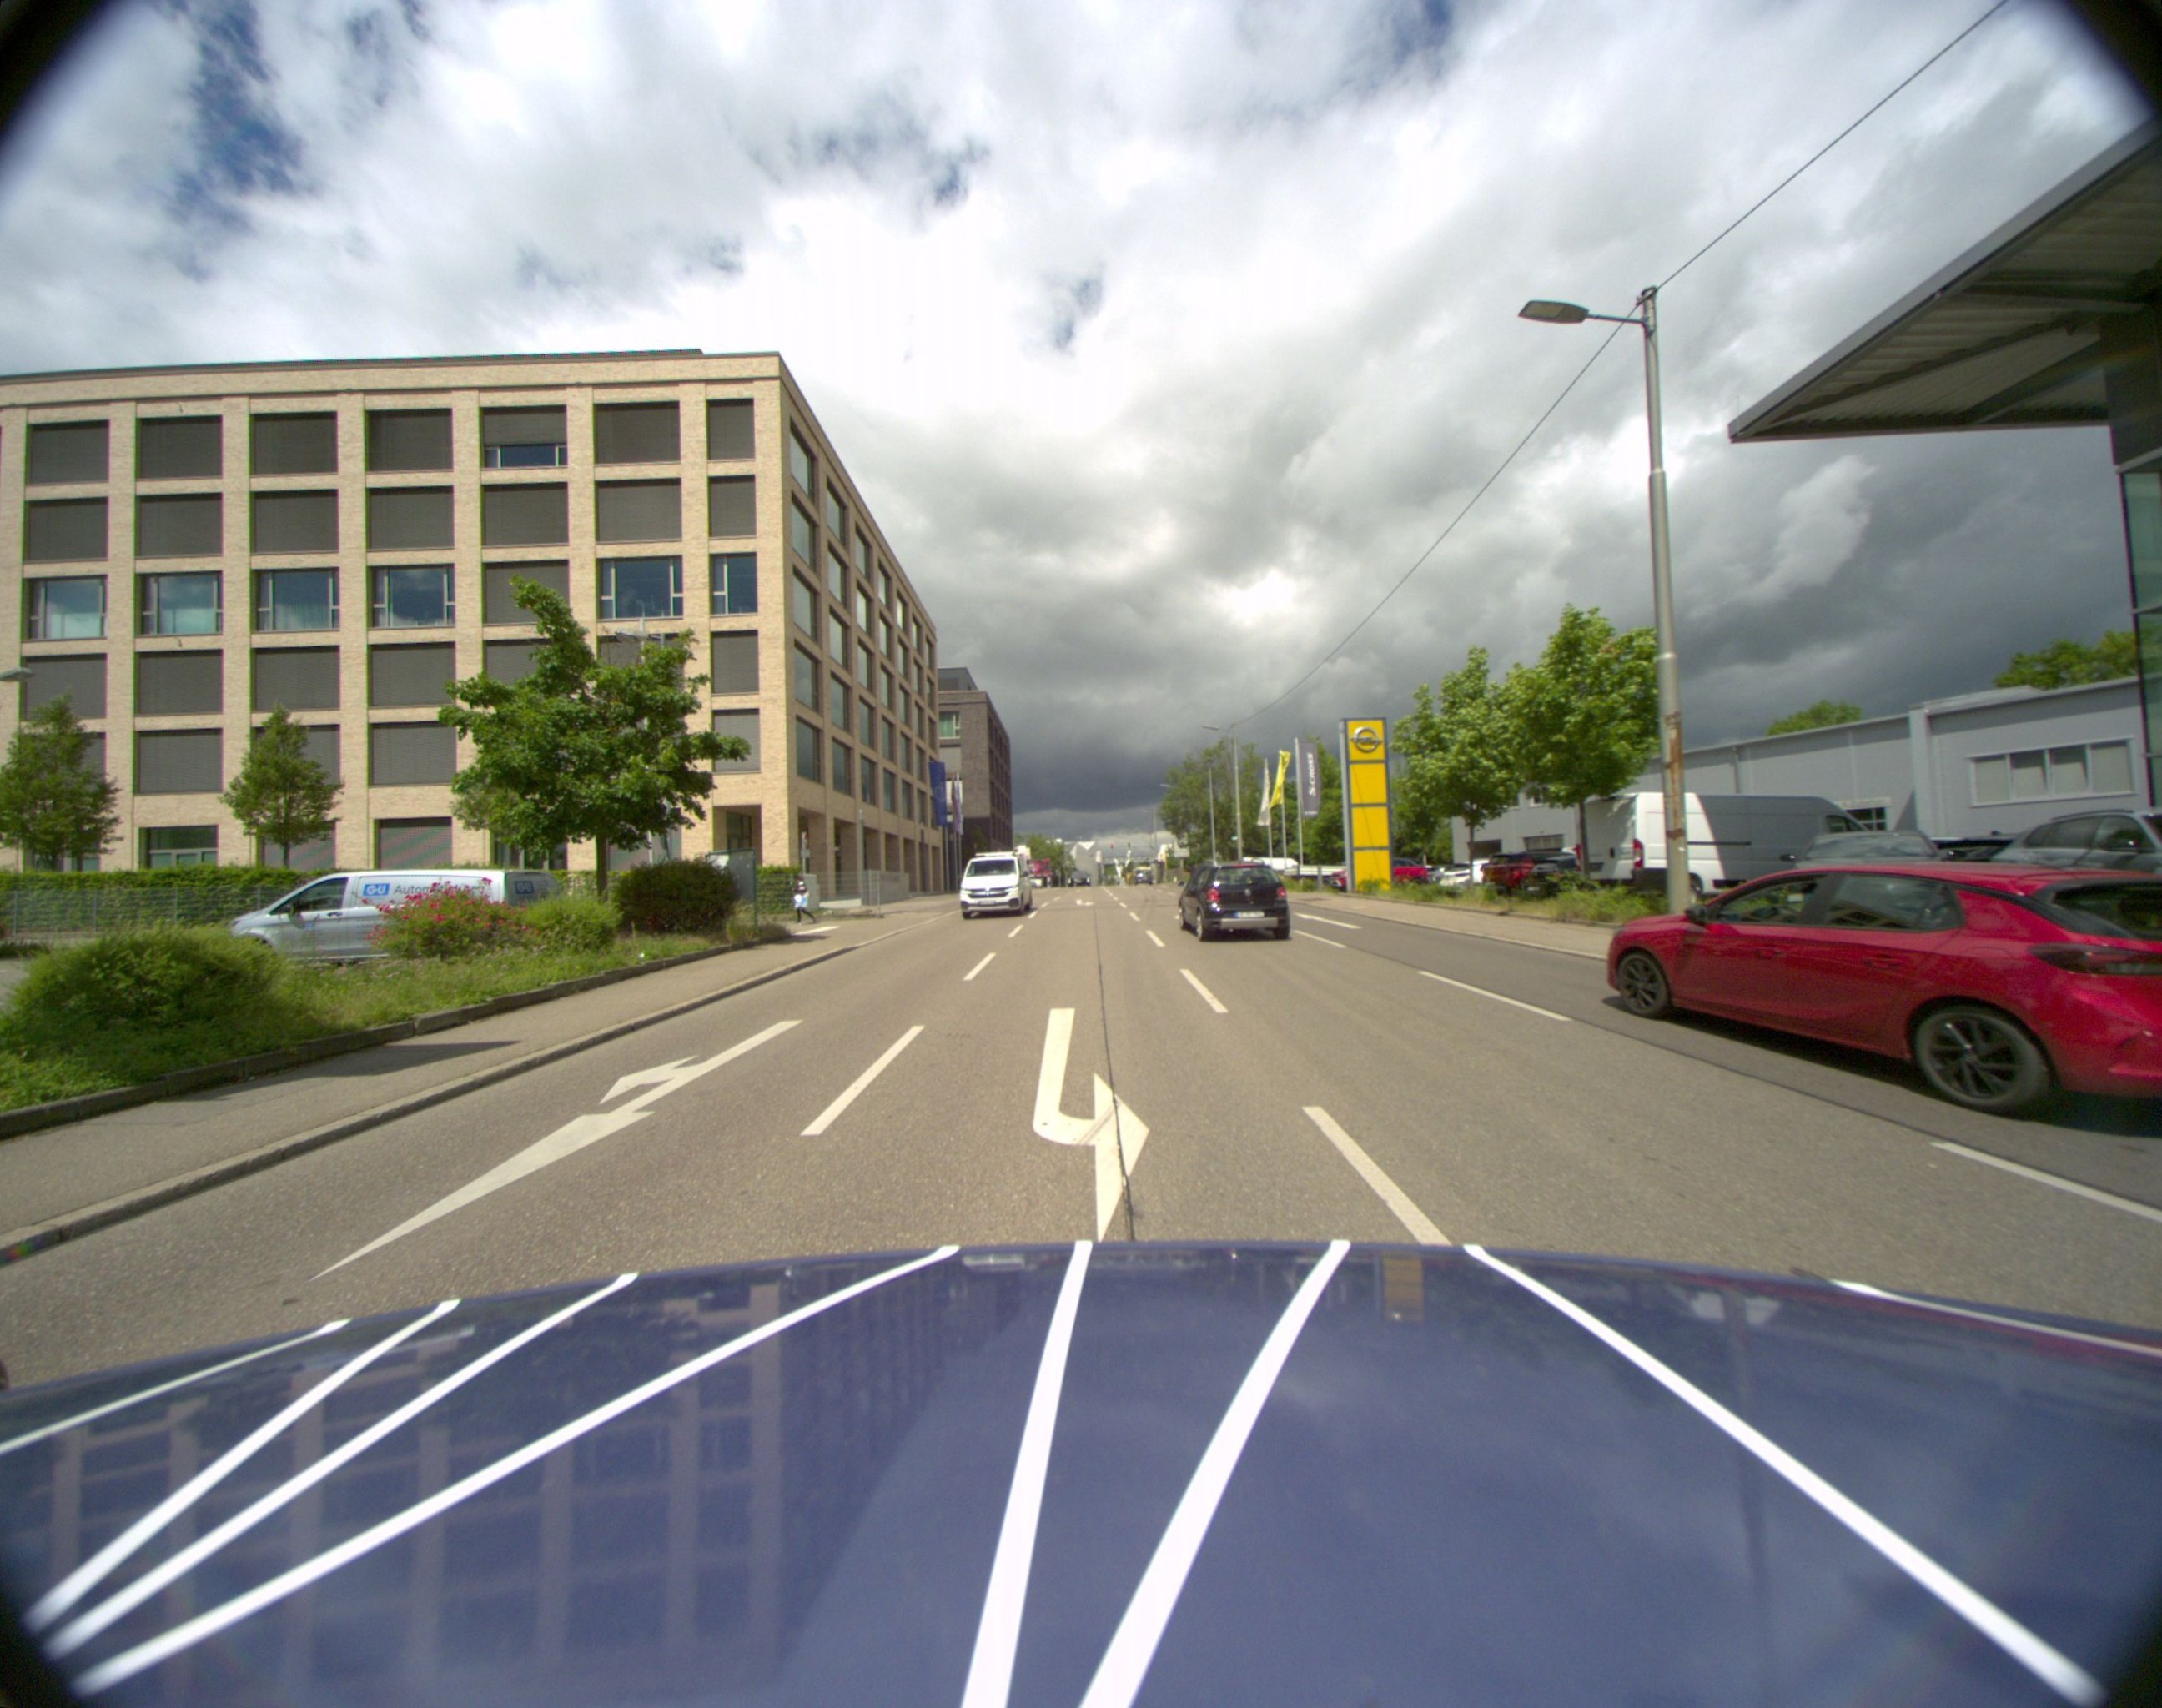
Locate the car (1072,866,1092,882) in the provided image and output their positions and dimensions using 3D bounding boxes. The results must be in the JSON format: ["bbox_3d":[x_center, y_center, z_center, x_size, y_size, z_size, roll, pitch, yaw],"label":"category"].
[{"bbox_3d":[0.095,1.834,70.094,1.726,1.394,4.208,-1,0,0],"label":"car"}]

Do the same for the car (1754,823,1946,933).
[{"bbox_3d":[12.785,0.318,12.539,4.485,1.500,1.938,-1,0,-41],"label":"car"}]

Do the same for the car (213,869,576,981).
[{"bbox_3d":[-12.648,1.246,14.350,4.722,1.837,2.087,-1,0,-7],"label":"car"}]

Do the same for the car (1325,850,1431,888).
[{"bbox_3d":[13.096,0.691,33.644,3.996,1.579,1.754,1,-2,2],"label":"car"}]

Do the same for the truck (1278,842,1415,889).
[{"bbox_3d":[13.073,0.567,37.700,5.877,2.135,2.476,-1,0,-2],"label":"truck"}]

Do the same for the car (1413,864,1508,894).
[{"bbox_3d":[18.729,1.211,37.634,3.832,1.320,1.646,-2,0,1],"label":"car"}]

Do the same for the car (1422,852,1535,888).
[{"bbox_3d":[17.636,0.736,33.876,4.089,1.513,1.827,1,-2,0],"label":"car"}]

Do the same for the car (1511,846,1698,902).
[{"bbox_3d":[14.876,0.553,21.750,3.997,1.401,1.928,-2,0,0],"label":"car"}]

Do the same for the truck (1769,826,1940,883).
[{"bbox_3d":[32.851,0.008,32.289,6.319,2.216,2.697,-1,0,-20],"label":"truck"}]

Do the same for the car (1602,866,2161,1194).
[{"bbox_3d":[5.932,0.854,5.352,1.876,1.482,3.849,1,0,0],"label":"car"}]

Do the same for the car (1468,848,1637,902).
[{"bbox_3d":[14.711,0.678,23.912,3.996,1.482,2.001,-2,-2,3],"label":"car"}]

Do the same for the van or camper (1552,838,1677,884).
[{"bbox_3d":[29.521,0.386,42.086,5.905,2.340,2.500,-1,-2,-18],"label":"van or camper"}]

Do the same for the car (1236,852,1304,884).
[{"bbox_3d":[13.210,0.990,53.298,4.171,2.001,2.199,-2,-2,-1],"label":"car"}]

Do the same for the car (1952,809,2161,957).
[{"bbox_3d":[11.965,0.261,8.100,1.896,1.441,4.842,-3,-3,29],"label":"car"}]

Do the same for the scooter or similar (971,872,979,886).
[{"bbox_3d":[-9.298,2.199,66.507,0.428,1.145,1.404,-1,-1,1],"label":"scooter or similar"}]

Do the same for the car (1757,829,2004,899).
[{"bbox_3d":[20.242,0.248,19.391,4.238,1.527,1.928,-2,0,0],"label":"car"}]

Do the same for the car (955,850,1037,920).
[{"bbox_3d":[-2.688,0.947,25.048,1.935,2.078,4.209,-1,0,4],"label":"car"}]

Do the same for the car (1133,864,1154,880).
[{"bbox_3d":[6.207,1.799,75.700,1.748,1.586,4.043,0,-1,0],"label":"car"}]

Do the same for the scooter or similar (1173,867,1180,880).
[{"bbox_3d":[9.403,1.890,74.829,0.536,1.258,1.473,-4,-2,6],"label":"scooter or similar"}]

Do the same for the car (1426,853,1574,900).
[{"bbox_3d":[14.397,0.757,26.258,3.997,1.401,2.000,-2,0,-1],"label":"car"}]

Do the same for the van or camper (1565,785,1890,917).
[{"bbox_3d":[13.962,-0.022,16.697,5.040,2.515,2.319,-2,-2,0],"label":"van or camper"}]

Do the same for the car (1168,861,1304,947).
[{"bbox_3d":[3.004,0.910,15.667,1.834,1.500,4.277,-1,0,-1],"label":"car"}]

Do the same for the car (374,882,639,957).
[{"bbox_3d":[-12.826,1.441,17.181,4.443,1.473,2.000,-1,0,0],"label":"car"}]

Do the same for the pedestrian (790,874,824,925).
[{"bbox_3d":[-8.476,1.399,23.533,0.689,1.526,0.856,-2,-1,1],"label":"pedestrian"}]
